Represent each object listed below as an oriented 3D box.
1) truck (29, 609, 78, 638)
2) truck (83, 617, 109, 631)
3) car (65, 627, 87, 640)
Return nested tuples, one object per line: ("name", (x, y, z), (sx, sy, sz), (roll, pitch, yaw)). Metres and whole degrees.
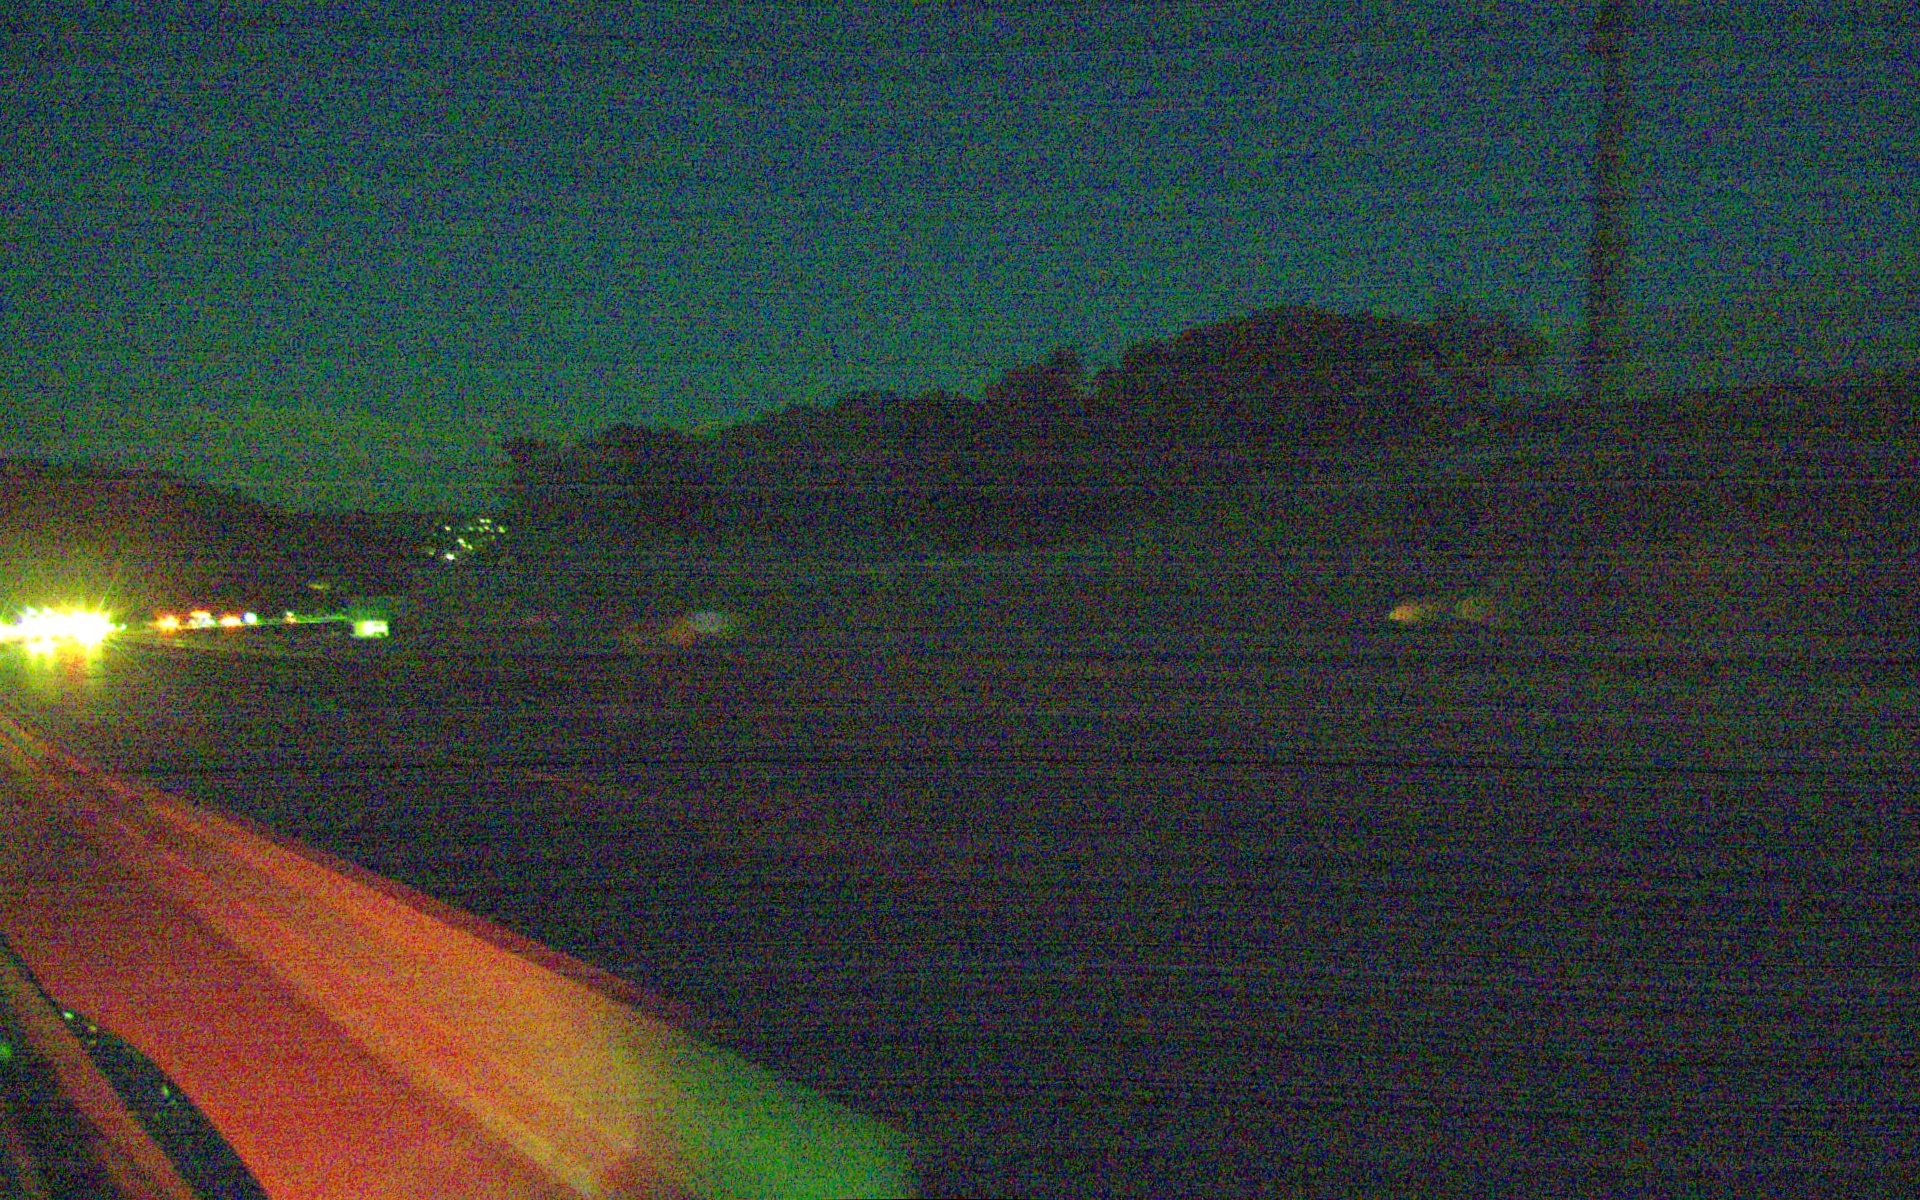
("truck", (-142.396, 3.571, 159.182), (2.924, 4.307, 17.192), (2, -1, -33))
("truck", (-148.231, 4.126, 173.676), (2.387, 2.443, 7.110), (2, -2, -33))
("car", (-114.006, 4.290, 130.541), (1.795, 1.527, 4.532), (2, -1, -38))
